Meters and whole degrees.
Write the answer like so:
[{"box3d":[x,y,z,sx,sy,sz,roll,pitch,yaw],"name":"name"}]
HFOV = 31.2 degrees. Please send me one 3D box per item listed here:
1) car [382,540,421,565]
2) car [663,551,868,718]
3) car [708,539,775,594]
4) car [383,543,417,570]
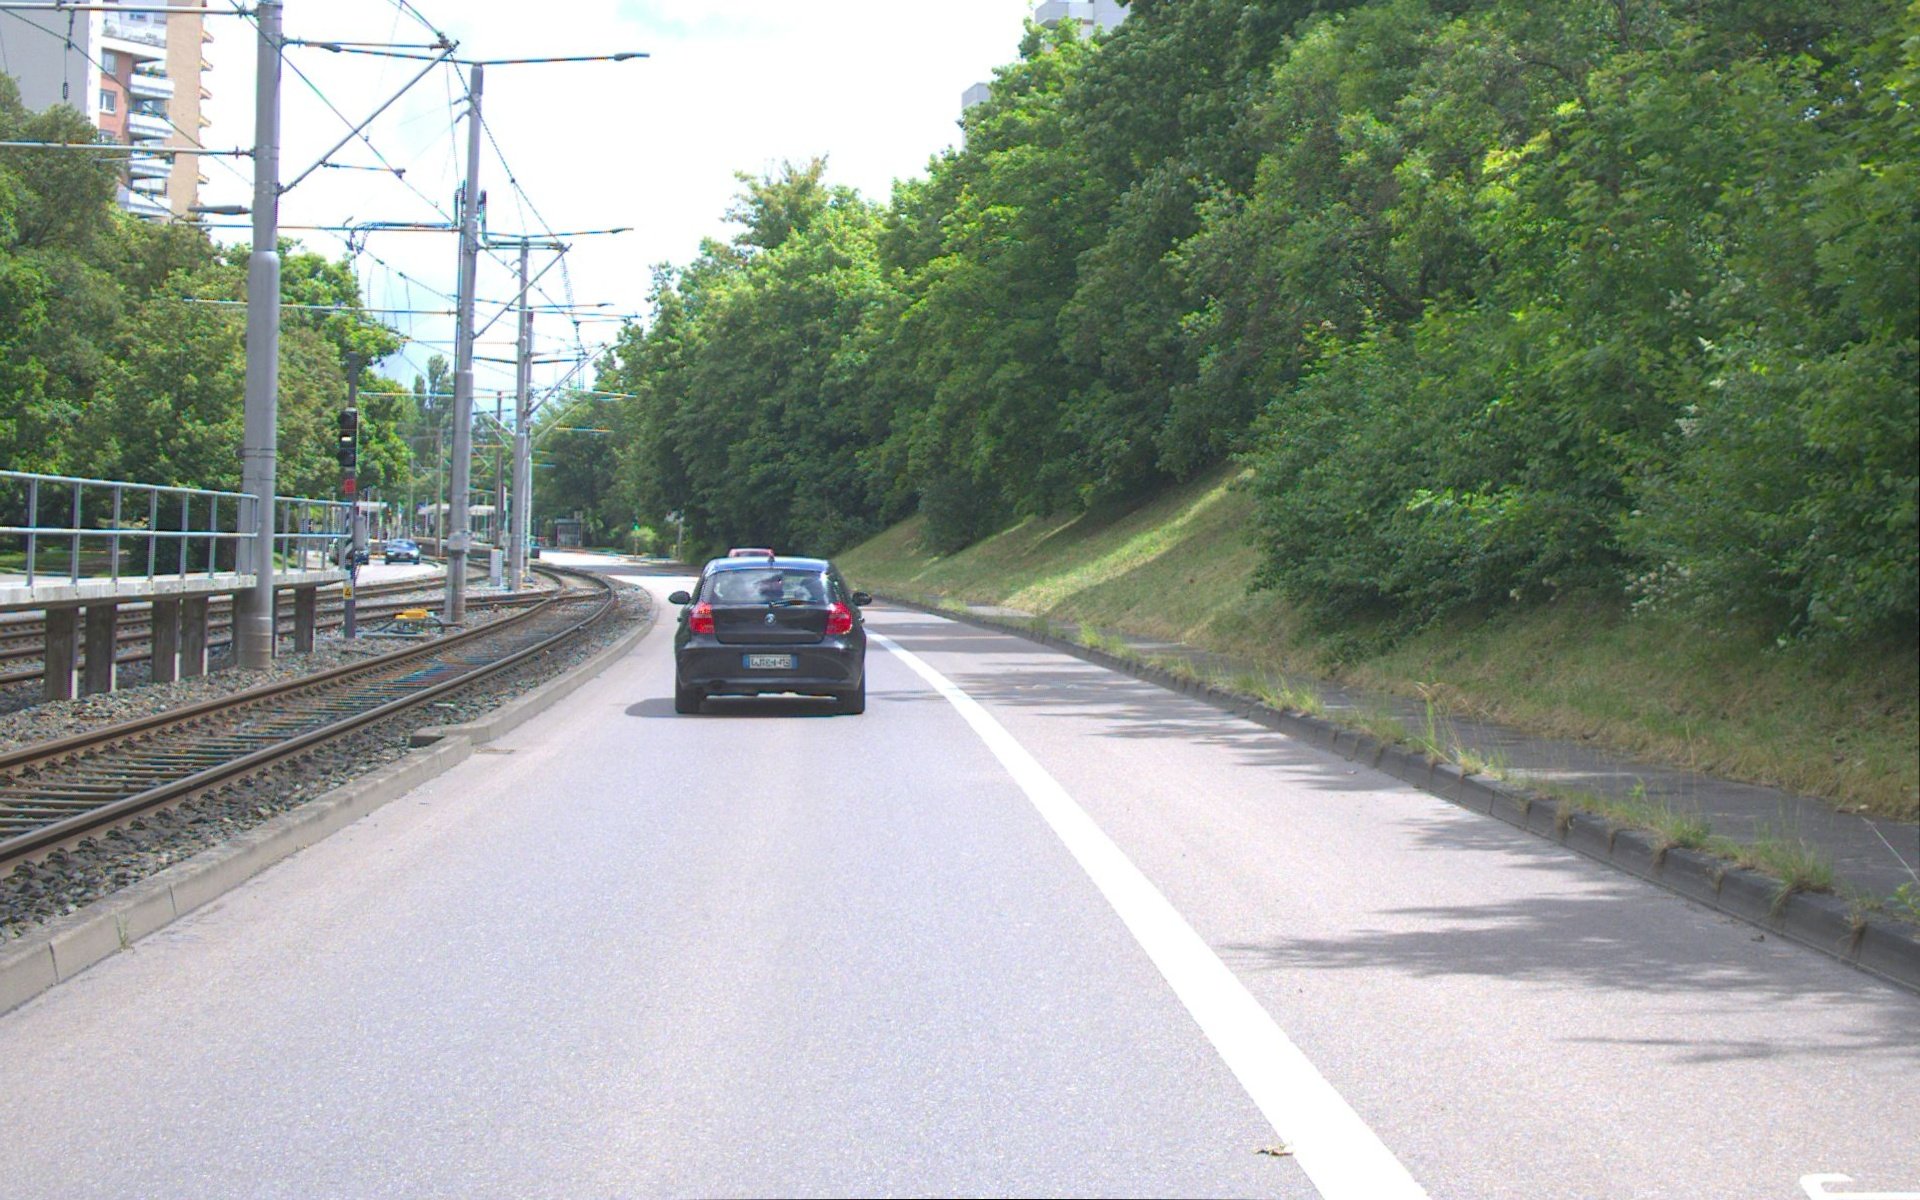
[{"box3d":[-31.783,-2.689,195.725,1.835,1.386,4.863,-1,1,-5],"name":"car"},{"box3d":[-1.773,0.272,31.994,1.781,1.454,3.921,0,1,-2],"name":"car"},{"box3d":[-5.978,-0.924,94.359,1.781,1.454,3.921,1,1,-3],"name":"car"},{"box3d":[-31.770,-2.465,194.941,1.774,1.493,3.998,1,1,-11],"name":"car"}]
